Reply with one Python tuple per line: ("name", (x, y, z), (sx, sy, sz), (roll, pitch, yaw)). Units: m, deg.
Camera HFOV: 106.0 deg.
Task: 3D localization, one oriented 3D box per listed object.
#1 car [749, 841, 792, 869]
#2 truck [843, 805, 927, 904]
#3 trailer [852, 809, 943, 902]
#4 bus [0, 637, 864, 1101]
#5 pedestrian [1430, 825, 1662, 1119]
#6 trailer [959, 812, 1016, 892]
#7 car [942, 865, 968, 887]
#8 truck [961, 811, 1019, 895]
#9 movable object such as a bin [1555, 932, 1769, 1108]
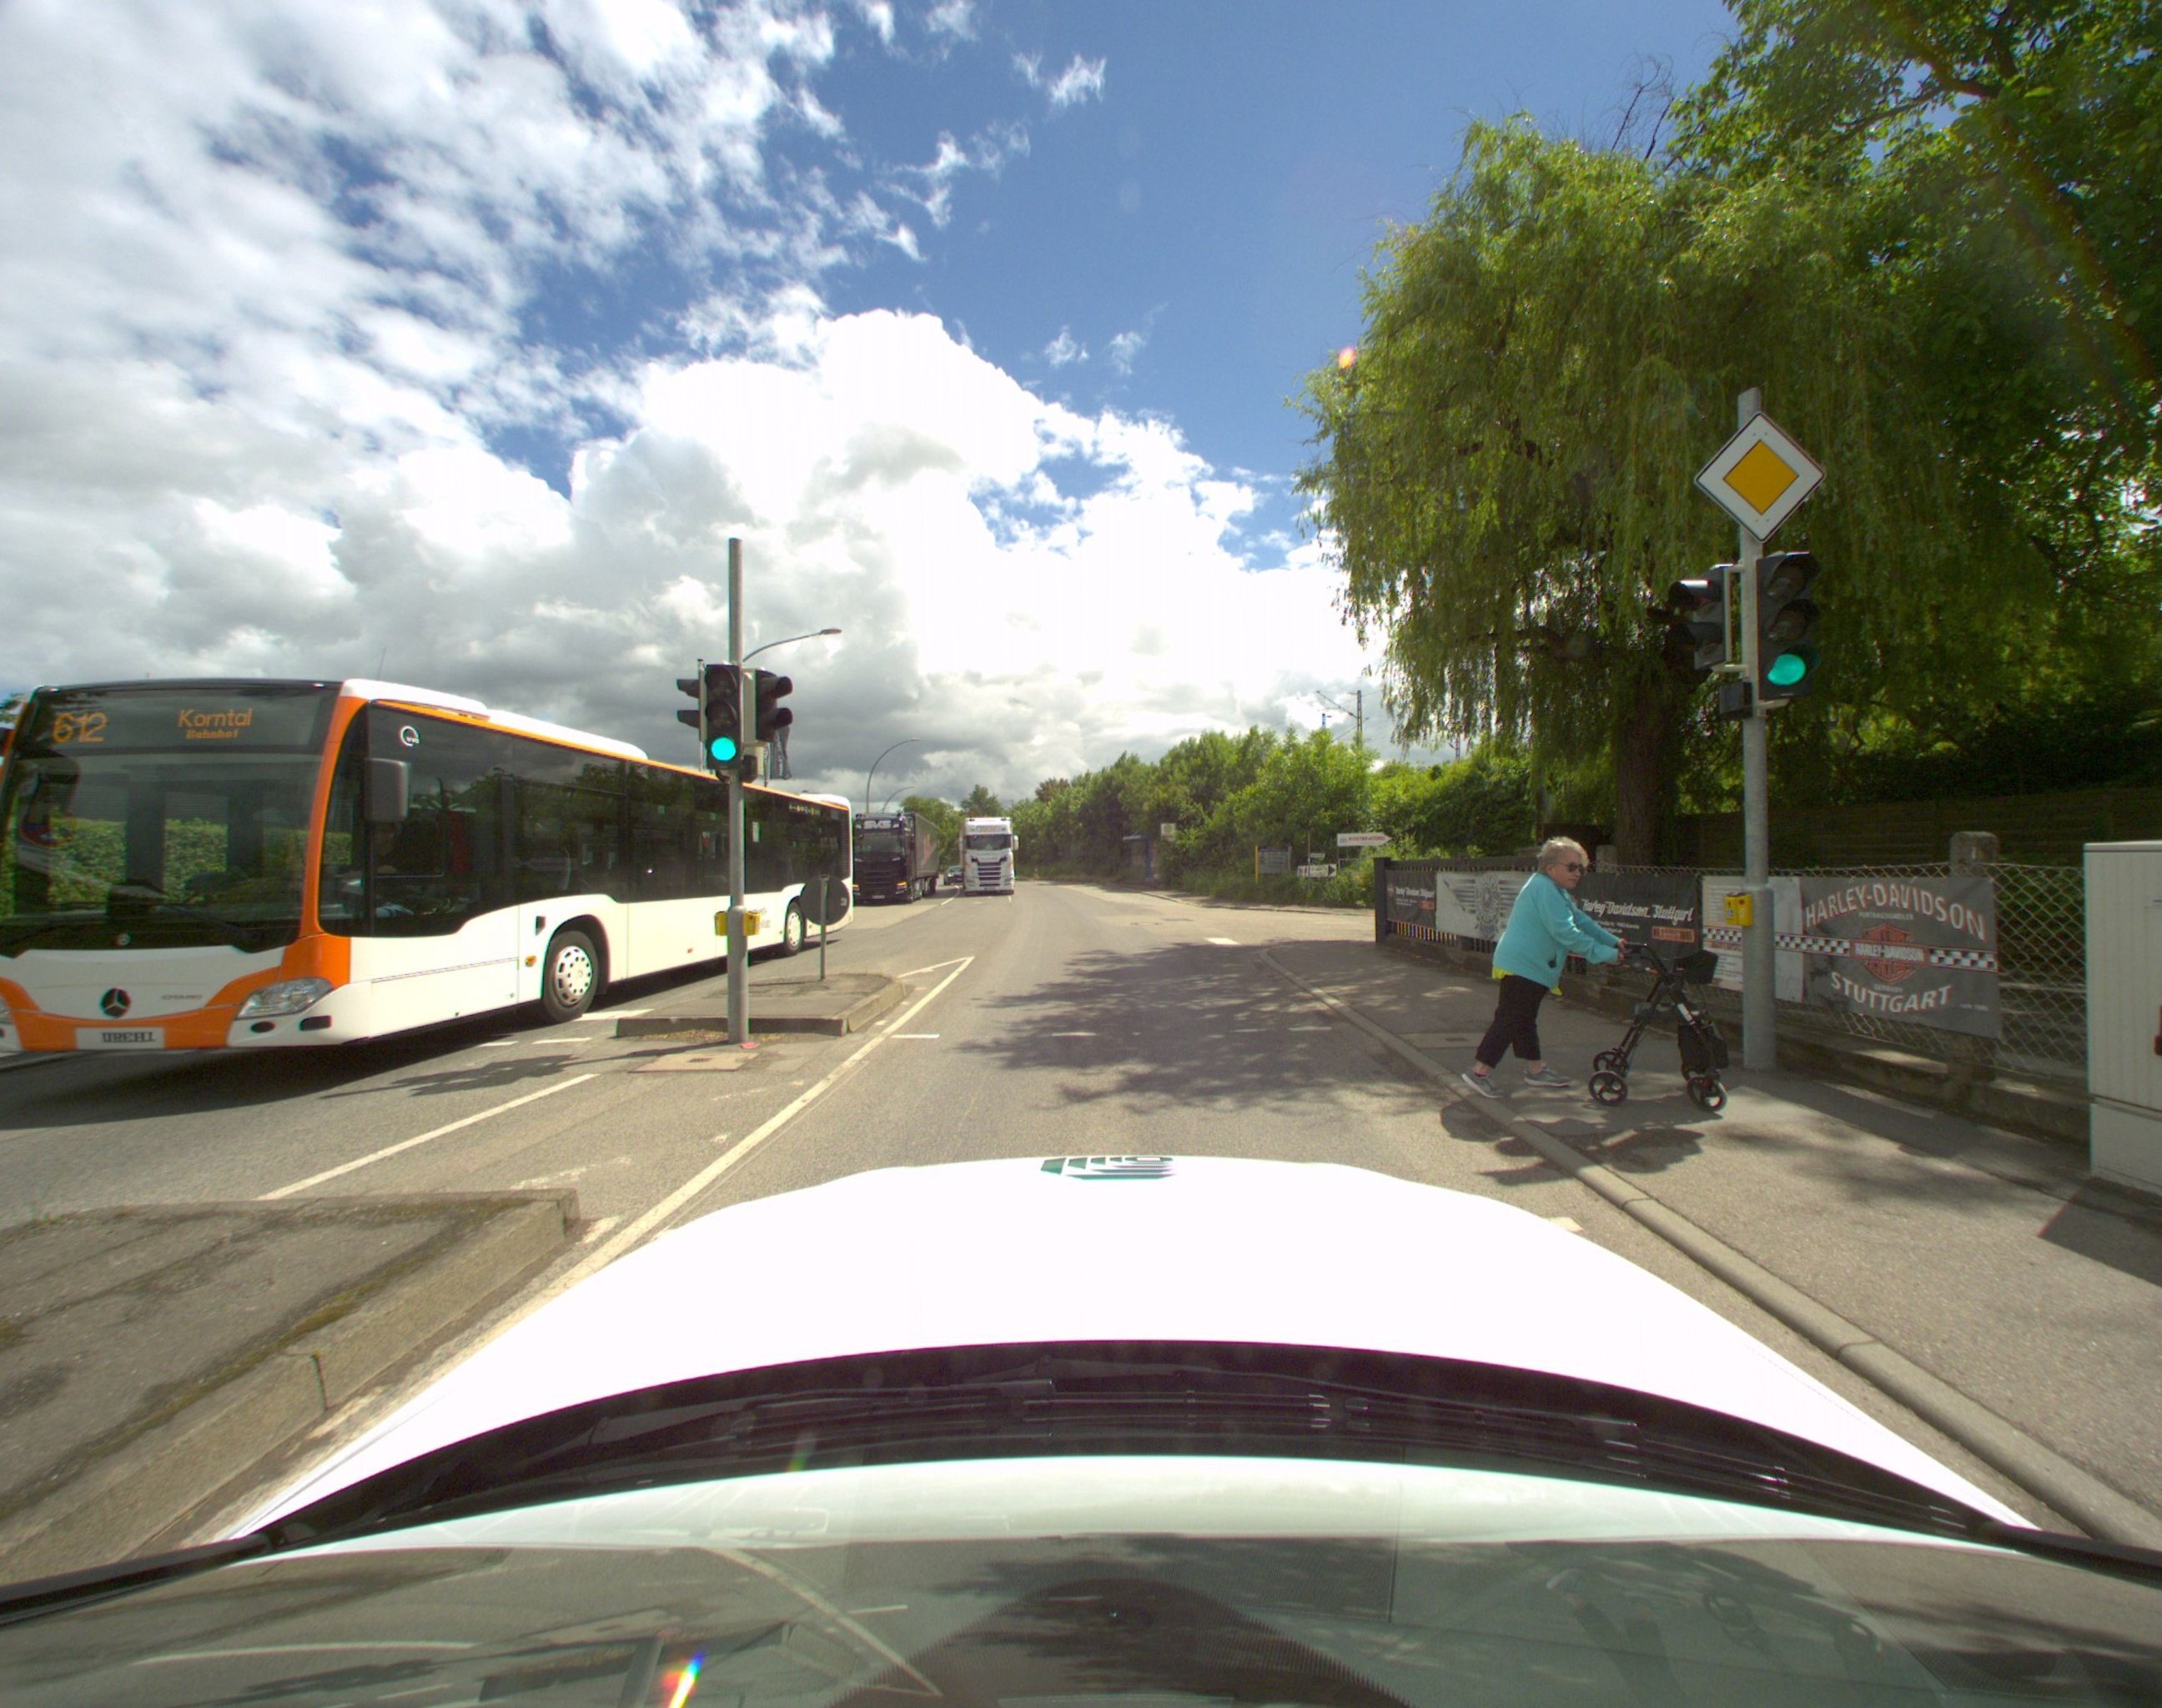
("car", (-15.387, 0.065, 40.418), (1.040, 1.364, 2.688), (0, -1, 2))
("truck", (-8.659, 0.082, 36.650), (2.795, 4.053, 6.487), (0, -1, -6))
("trailer", (-9.339, 0.198, 43.372), (2.795, 4.053, 15.523), (0, -1, -6))
("bus", (-6.241, 0.204, 11.553), (2.709, 3.031, 12.268), (-2, -1, 1))
("pedestrian", (2.694, 0.645, 4.813), (0.835, 1.543, 0.734), (-4, -1, 0))
("trailer", (-5.978, 0.042, 49.920), (2.771, 4.145, 15.300), (0, -1, -9))
("car", (-10.178, 1.776, 65.593), (1.994, 1.706, 3.985), (0, -1, -11))
("truck", (-4.852, -0.009, 42.819), (2.771, 4.119, 4.970), (0, -1, -9))
("movable object such as a bin", (3.370, 0.939, 4.786), (0.743, 0.871, 0.671), (-3, -1, 0))
